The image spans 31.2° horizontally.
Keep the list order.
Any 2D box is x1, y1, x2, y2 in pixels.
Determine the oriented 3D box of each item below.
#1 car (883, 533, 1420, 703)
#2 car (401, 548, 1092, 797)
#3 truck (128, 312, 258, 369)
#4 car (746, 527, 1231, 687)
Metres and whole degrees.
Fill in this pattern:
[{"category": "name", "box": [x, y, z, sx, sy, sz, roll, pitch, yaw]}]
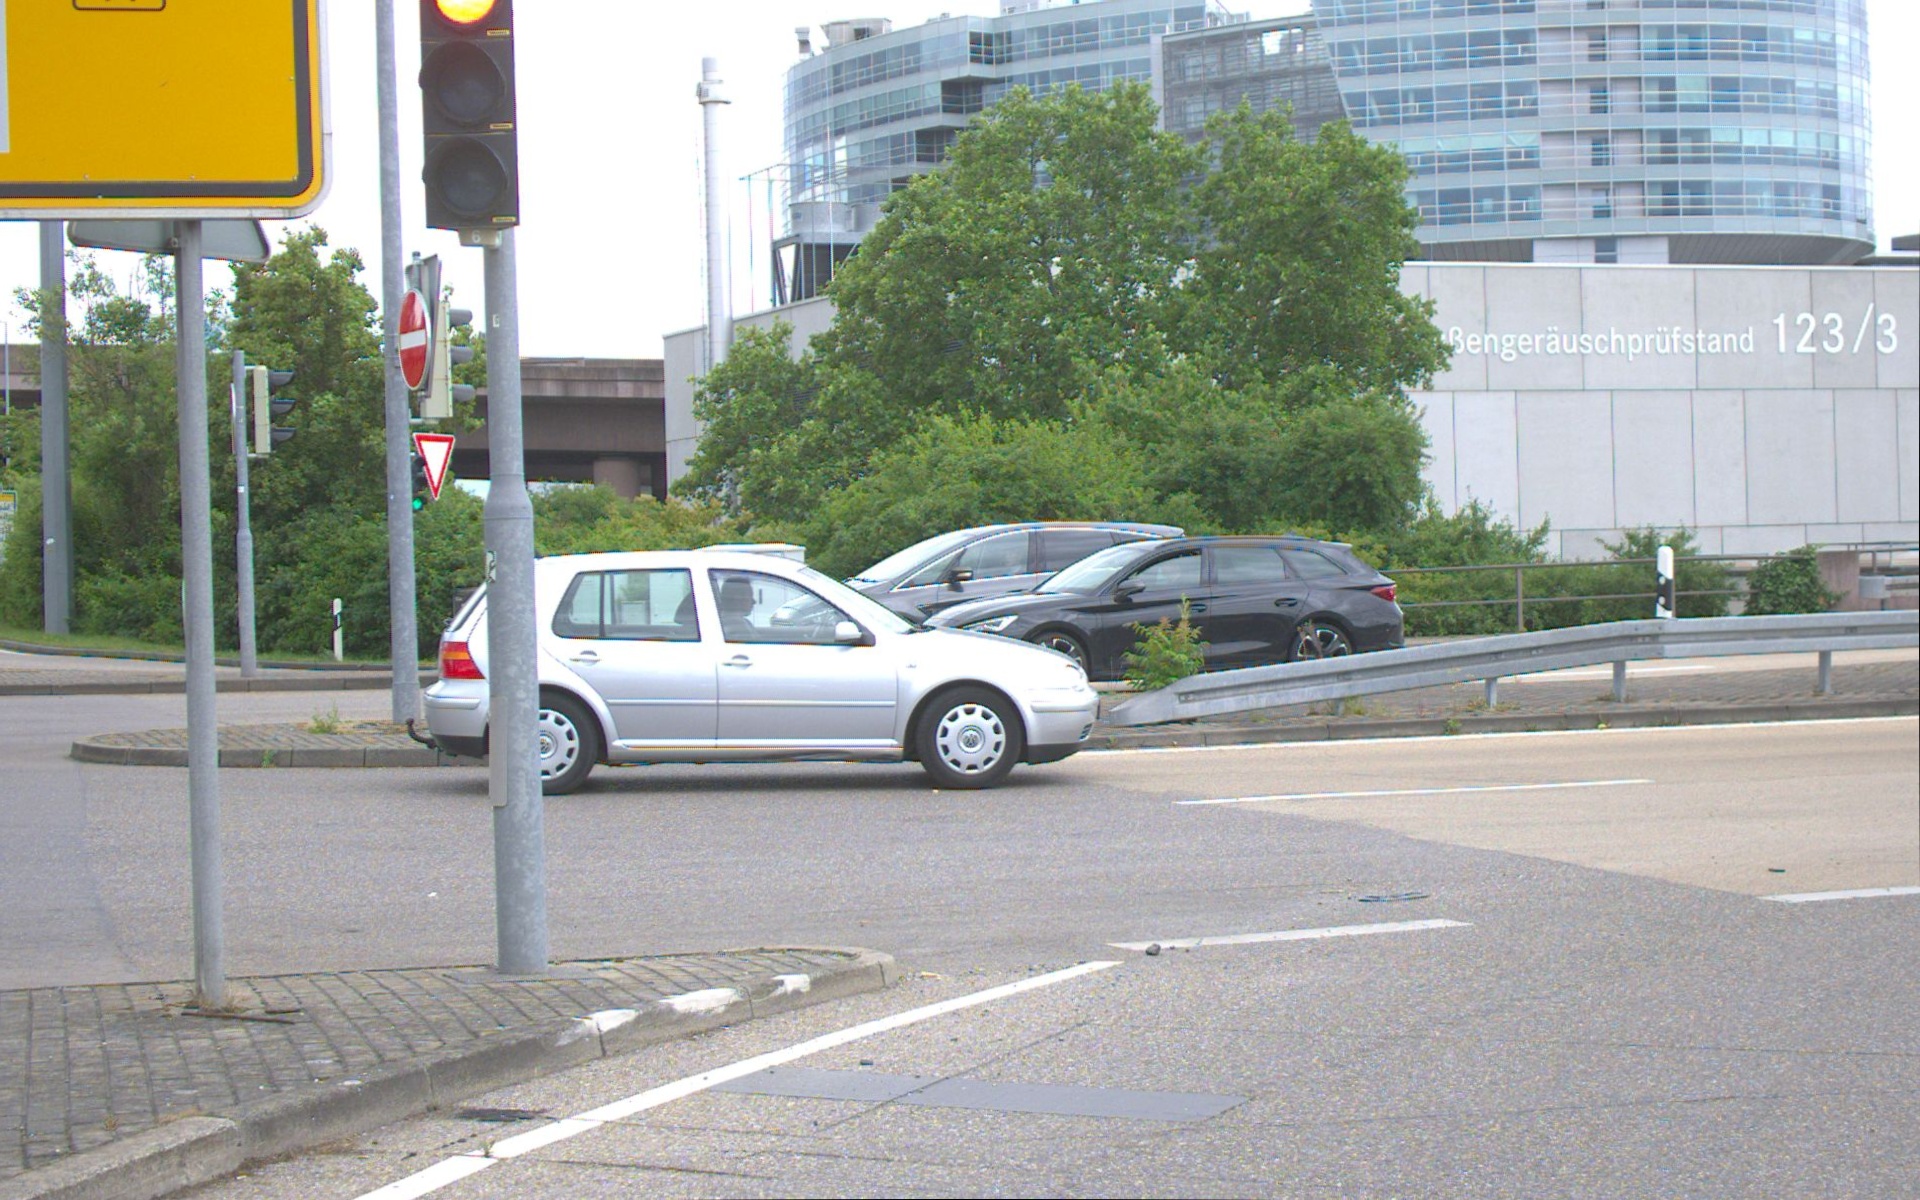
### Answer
[{"category": "car", "box": [1.777, 0.125, 32.057, 4.604, 1.452, 1.956, -1, 2, -21]}, {"category": "car", "box": [-1.280, 0.413, 21.131, 4.052, 1.396, 1.730, -1, 1, -2]}, {"category": "truck", "box": [-32.977, -11.150, 147.849, 5.061, 2.314, 2.000, 1, 1, 5]}, {"category": "car", "box": [0.285, 0.036, 35.881, 4.677, 1.566, 1.956, 0, 2, -19]}]
